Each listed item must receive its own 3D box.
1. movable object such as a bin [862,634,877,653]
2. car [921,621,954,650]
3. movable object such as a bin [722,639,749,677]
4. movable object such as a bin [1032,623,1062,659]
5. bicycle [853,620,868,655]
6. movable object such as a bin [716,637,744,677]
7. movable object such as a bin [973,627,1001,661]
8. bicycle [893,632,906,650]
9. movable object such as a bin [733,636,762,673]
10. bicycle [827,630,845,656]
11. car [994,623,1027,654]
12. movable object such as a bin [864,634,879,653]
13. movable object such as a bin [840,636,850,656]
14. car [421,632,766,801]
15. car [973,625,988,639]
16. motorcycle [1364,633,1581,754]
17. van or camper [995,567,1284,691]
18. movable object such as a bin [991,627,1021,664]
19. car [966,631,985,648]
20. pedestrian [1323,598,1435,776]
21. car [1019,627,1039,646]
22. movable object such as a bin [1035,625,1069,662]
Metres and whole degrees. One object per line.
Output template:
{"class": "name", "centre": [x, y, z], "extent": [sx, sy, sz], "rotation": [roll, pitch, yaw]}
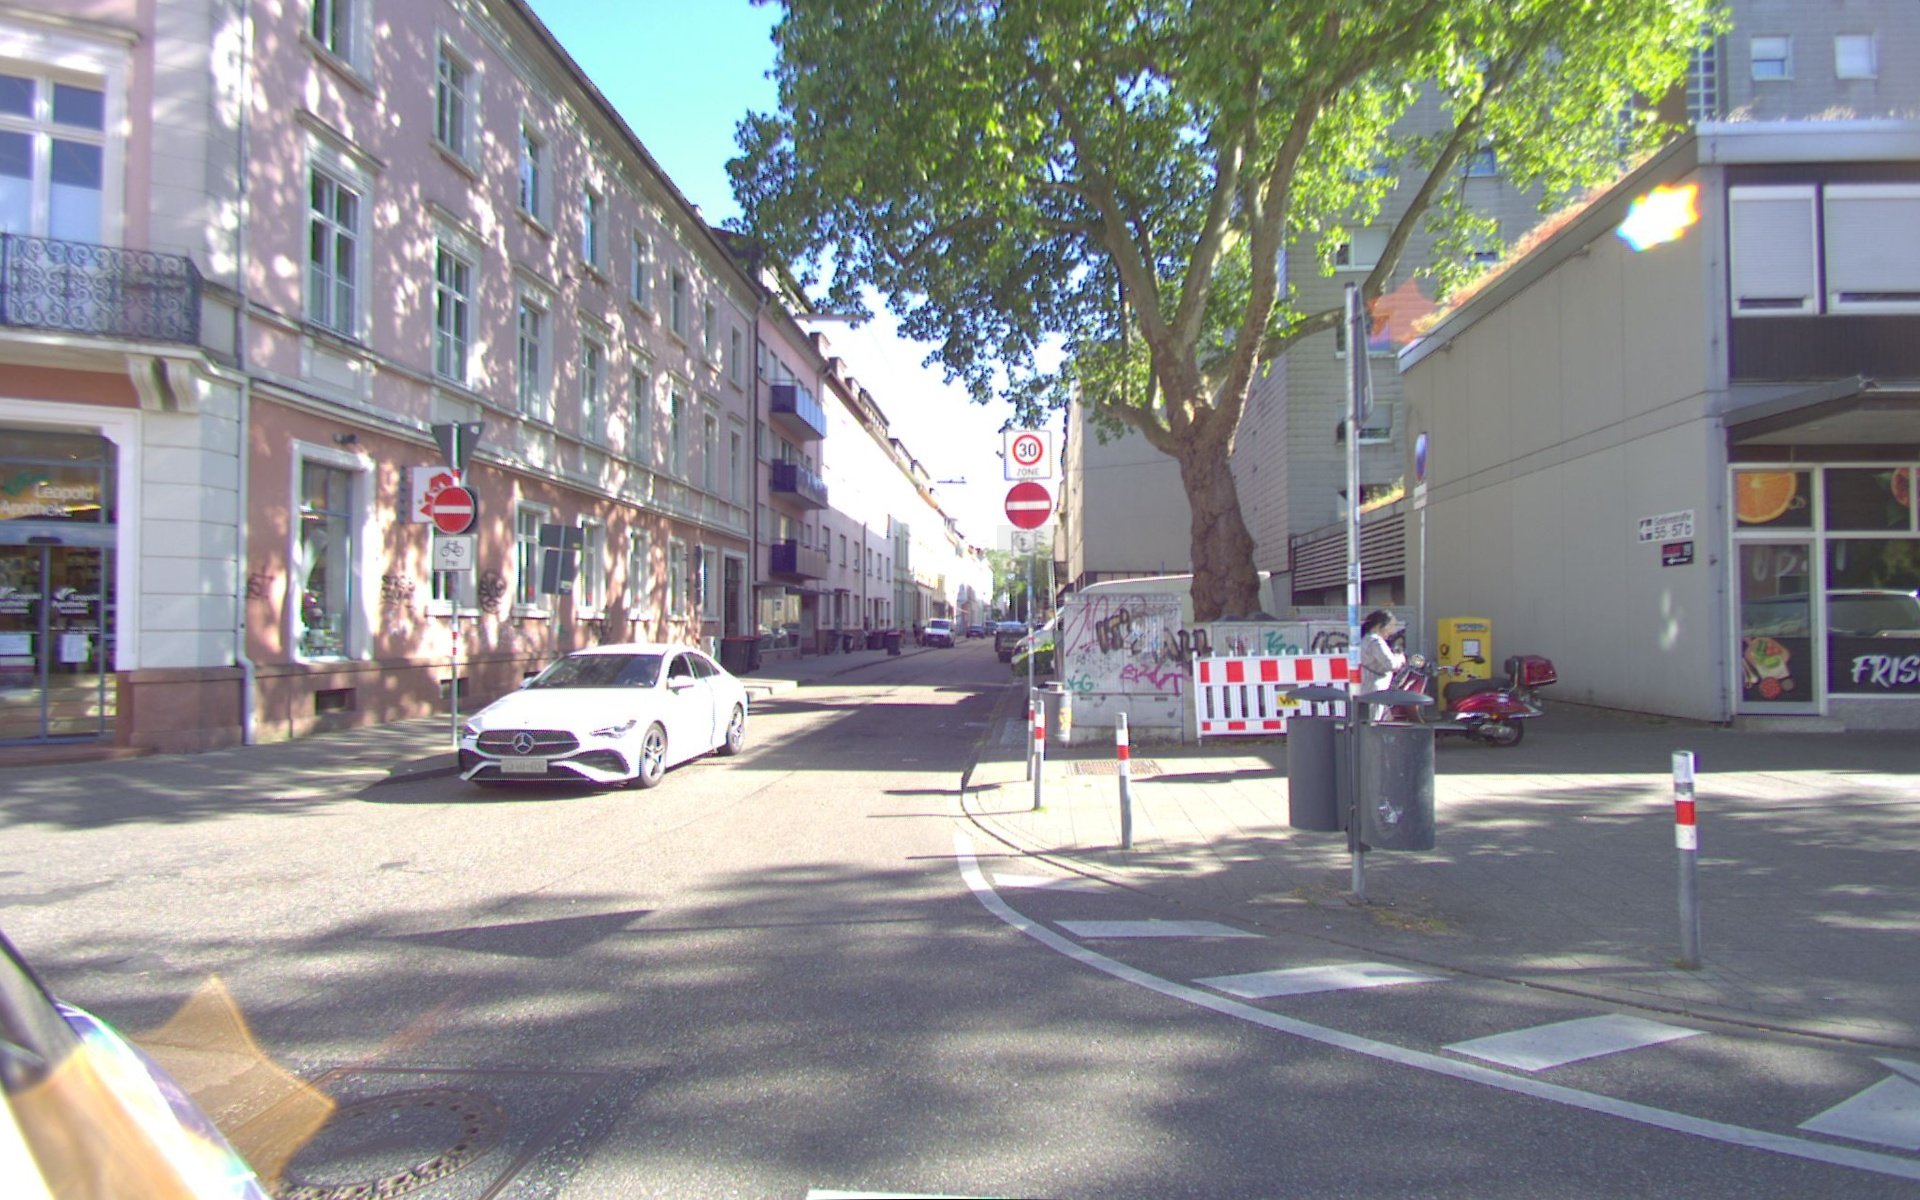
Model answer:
{"class": "movable object such as a bin", "centre": [-4.904, 2.344, 54.825], "extent": [0.708, 1.010, 0.546], "rotation": [2, -2, 4]}
{"class": "car", "centre": [-1.519, 2.417, 68.800], "extent": [1.744, 1.868, 4.320], "rotation": [-1, -2, 5]}
{"class": "movable object such as a bin", "centre": [-6.540, 1.684, 29.511], "extent": [0.563, 1.066, 0.611], "rotation": [2, -2, 4]}
{"class": "movable object such as a bin", "centre": [3.692, 1.746, 43.300], "extent": [1.206, 1.512, 1.516], "rotation": [-1, -2, 3]}
{"class": "bicycle", "centre": [-5.169, 1.942, 52.814], "extent": [0.398, 1.749, 2.103], "rotation": [-1, -2, 5]}
{"class": "movable object such as a bin", "centre": [-6.574, 1.622, 28.944], "extent": [0.563, 1.092, 0.654], "rotation": [2, -2, 4]}
{"class": "movable object such as a bin", "centre": [1.237, 1.975, 45.815], "extent": [1.206, 1.512, 1.559], "rotation": [-1, -2, 3]}
{"class": "bicycle", "centre": [-3.747, 2.533, 62.754], "extent": [0.484, 1.104, 1.929], "rotation": [-1, -2, 5]}
{"class": "movable object such as a bin", "centre": [-6.606, 1.687, 31.479], "extent": [0.709, 1.092, 0.618], "rotation": [2, -2, 4]}
{"class": "bicycle", "centre": [-5.546, 1.922, 45.383], "extent": [0.398, 1.159, 2.021], "rotation": [-1, -2, 5]}
{"class": "car", "centre": [2.975, 2.210, 59.018], "extent": [1.744, 1.721, 4.320], "rotation": [-1, -2, 5]}
{"class": "movable object such as a bin", "centre": [-4.865, 2.378, 55.413], "extent": [0.708, 1.010, 0.546], "rotation": [2, -2, 4]}
{"class": "movable object such as a bin", "centre": [-5.442, 2.171, 47.893], "extent": [0.411, 0.947, 0.301], "rotation": [2, -2, 4]}
{"class": "car", "centre": [-3.758, 1.130, 11.379], "extent": [1.841, 1.468, 4.553], "rotation": [-2, -2, 6]}
{"class": "car", "centre": [2.726, 4.204, 132.104], "extent": [1.744, 1.721, 4.321], "rotation": [-1, -2, 4]}
{"class": "motorcycle", "centre": [5.464, 0.989, 10.884], "extent": [1.898, 1.189, 0.669], "rotation": [-2, -2, 6]}
{"class": "van or camper", "centre": [4.441, 0.762, 25.855], "extent": [6.843, 2.594, 1.996], "rotation": [-4, -2, 6]}
{"class": "movable object such as a bin", "centre": [1.947, 1.916, 42.604], "extent": [1.225, 1.512, 1.875], "rotation": [-1, -2, 3]}
{"class": "car", "centre": [1.652, 4.175, 106.900], "extent": [1.744, 1.721, 4.321], "rotation": [-1, -2, 4]}
{"class": "pedestrian", "centre": [3.925, 0.806, 9.561], "extent": [0.840, 1.585, 0.841], "rotation": [-3, -2, 18]}
{"class": "car", "centre": [6.584, 3.484, 96.195], "extent": [1.744, 1.721, 4.320], "rotation": [-1, -2, 5]}
{"class": "movable object such as a bin", "centre": [3.786, 1.791, 41.875], "extent": [1.312, 1.512, 1.194], "rotation": [-1, -2, 3]}
